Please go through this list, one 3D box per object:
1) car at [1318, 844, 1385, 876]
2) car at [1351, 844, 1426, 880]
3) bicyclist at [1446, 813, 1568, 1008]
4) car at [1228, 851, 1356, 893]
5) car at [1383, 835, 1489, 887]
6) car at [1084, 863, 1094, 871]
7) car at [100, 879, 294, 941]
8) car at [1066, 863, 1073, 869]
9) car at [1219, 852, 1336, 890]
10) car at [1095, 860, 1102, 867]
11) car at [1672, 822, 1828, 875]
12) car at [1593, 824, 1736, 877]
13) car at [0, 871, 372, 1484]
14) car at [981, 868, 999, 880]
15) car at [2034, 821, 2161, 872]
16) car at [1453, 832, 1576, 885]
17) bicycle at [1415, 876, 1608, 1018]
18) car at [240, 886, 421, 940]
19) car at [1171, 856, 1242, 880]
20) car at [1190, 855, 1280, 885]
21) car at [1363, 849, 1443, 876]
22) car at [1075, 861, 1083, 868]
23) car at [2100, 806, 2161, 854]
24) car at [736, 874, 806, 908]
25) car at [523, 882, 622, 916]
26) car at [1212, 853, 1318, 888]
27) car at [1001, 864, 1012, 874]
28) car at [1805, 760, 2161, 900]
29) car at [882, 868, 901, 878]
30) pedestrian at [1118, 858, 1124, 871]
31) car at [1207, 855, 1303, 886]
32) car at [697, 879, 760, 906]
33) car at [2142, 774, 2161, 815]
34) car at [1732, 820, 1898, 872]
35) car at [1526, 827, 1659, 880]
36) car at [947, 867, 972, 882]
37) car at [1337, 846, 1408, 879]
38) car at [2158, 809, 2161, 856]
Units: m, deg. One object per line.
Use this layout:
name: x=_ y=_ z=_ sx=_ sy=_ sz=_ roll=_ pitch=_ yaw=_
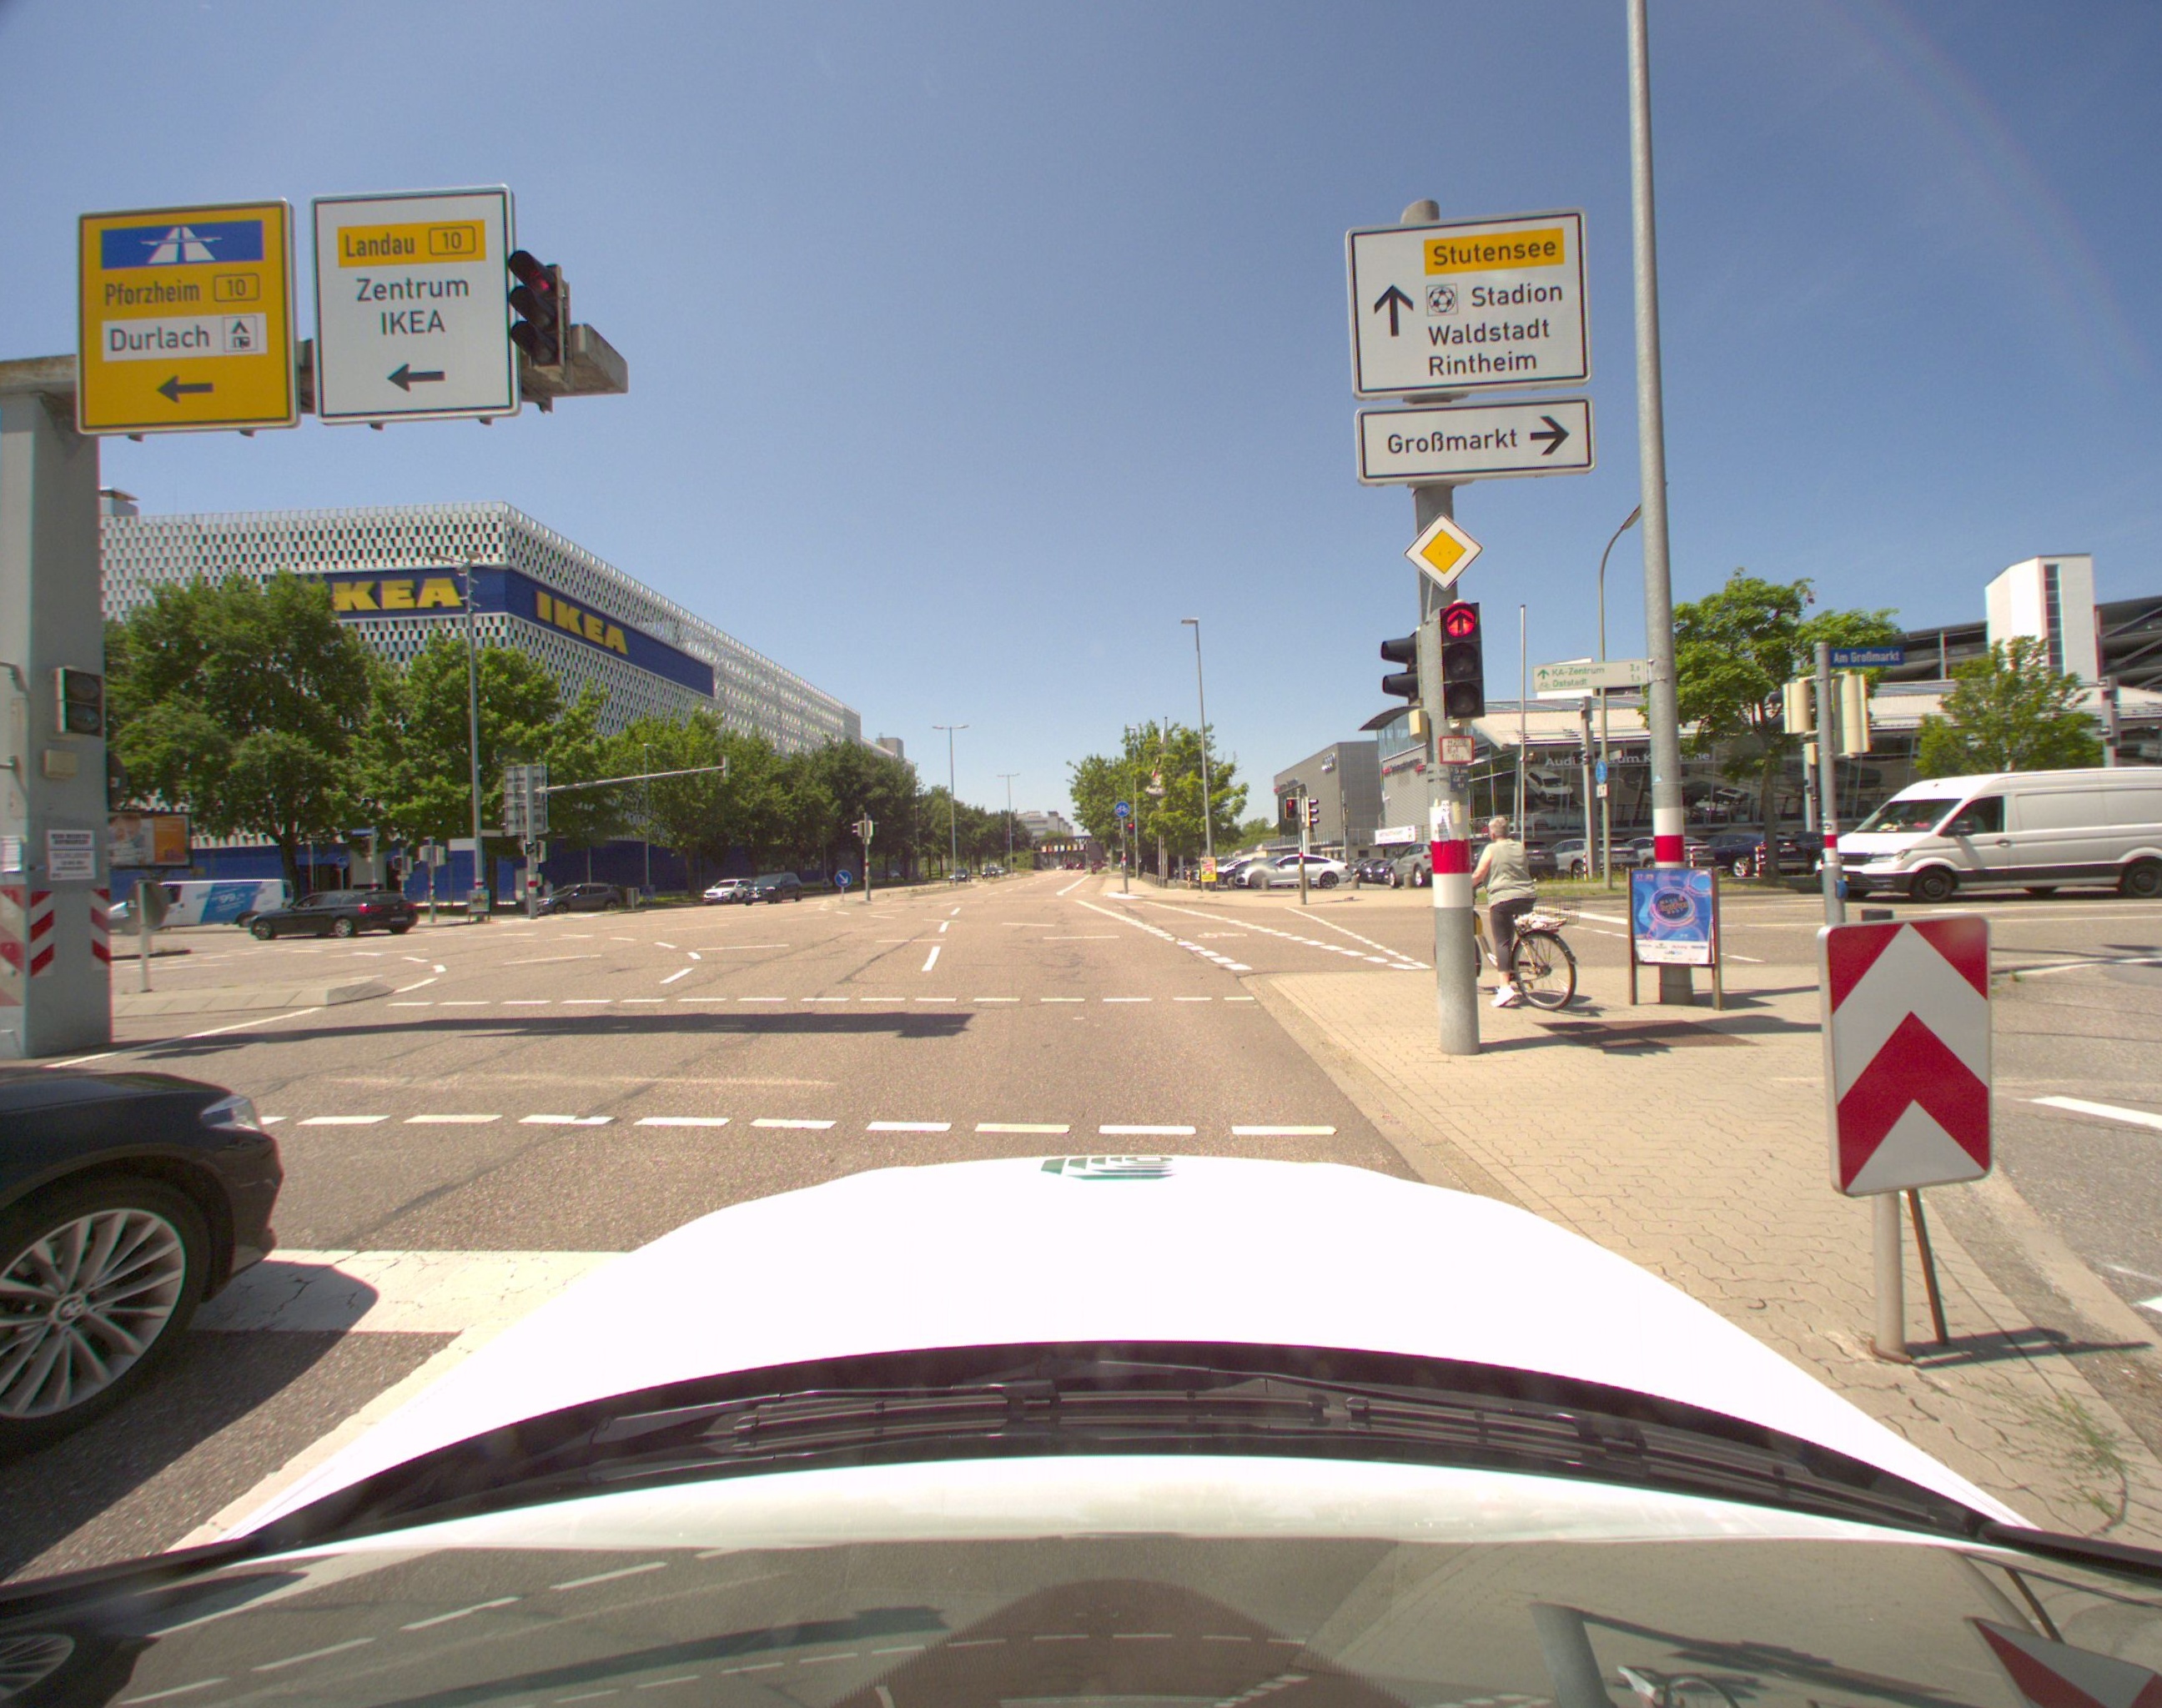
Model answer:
car: x=18.740 y=0.415 z=56.580 sx=3.971 sy=2.014 sz=2.001 roll=-2 pitch=-1 yaw=2
car: x=19.309 y=0.510 z=51.248 sx=3.971 sy=2.014 sz=2.001 roll=-2 pitch=-1 yaw=2
bicyclist: x=4.017 y=0.504 z=7.728 sx=0.732 sy=1.749 sz=0.753 roll=-1 pitch=0 yaw=-3
car: x=8.508 y=0.715 z=33.184 sx=4.721 sy=1.457 sz=2.002 roll=-2 pitch=0 yaw=3
car: x=12.425 y=0.231 z=28.828 sx=1.986 sy=1.639 sz=4.270 roll=-2 pitch=0 yaw=2
car: x=1.042 y=1.653 z=105.356 sx=1.133 sy=1.042 sz=2.309 roll=-2 pitch=0 yaw=2
car: x=-34.187 y=2.121 z=31.744 sx=4.786 sy=2.008 sz=1.978 roll=-2 pitch=-1 yaw=-37
car: x=-3.232 y=3.299 z=225.890 sx=1.765 sy=1.728 sz=4.001 roll=-3 pitch=-1 yaw=2
car: x=8.574 y=0.745 z=35.956 sx=4.721 sy=1.457 sz=2.002 roll=-2 pitch=-2 yaw=3
car: x=4.764 y=2.637 z=220.946 sx=1.765 sy=1.728 sz=4.001 roll=-3 pitch=-1 yaw=2
car: x=23.212 y=-0.187 z=28.502 sx=1.821 sy=1.639 sz=4.476 roll=-3 pitch=0 yaw=2
car: x=20.380 y=-0.109 z=28.726 sx=1.878 sy=1.639 sz=4.526 roll=-3 pitch=0 yaw=2
car: x=-3.553 y=0.806 z=0.681 sx=1.793 sy=1.466 sz=4.624 roll=-1 pitch=0 yaw=1
car: x=-11.858 y=2.614 z=106.228 sx=1.678 sy=1.411 sz=3.666 roll=-3 pitch=-1 yaw=2
car: x=39.334 y=-0.283 z=30.912 sx=3.665 sy=1.777 sz=1.759 roll=-3 pitch=-1 yaw=28
car: x=15.085 y=0.150 z=28.666 sx=1.986 sy=1.639 sz=4.559 roll=-2 pitch=0 yaw=2
bicycle: x=4.047 y=0.814 z=7.859 sx=0.784 sy=1.127 sz=1.919 roll=-1 pitch=0 yaw=-2
car: x=-22.337 y=1.743 z=24.296 sx=4.197 sy=1.411 sz=1.676 roll=-2 pitch=-1 yaw=9
car: x=9.002 y=0.979 z=58.758 sx=4.726 sy=1.457 sz=2.000 roll=-3 pitch=0 yaw=0
car: x=8.752 y=0.907 z=46.490 sx=4.726 sy=1.457 sz=2.000 roll=-2 pitch=0 yaw=0
car: x=19.285 y=0.522 z=48.904 sx=4.076 sy=1.460 sz=1.720 roll=-2 pitch=0 yaw=2
car: x=-0.540 y=2.875 z=220.437 sx=1.765 sy=1.728 sz=4.001 roll=-3 pitch=-1 yaw=2
car: x=47.265 y=-1.079 z=35.144 sx=3.728 sy=2.014 sz=1.866 roll=-2 pitch=-1 yaw=11
car: x=-16.713 y=1.955 z=44.173 sx=1.868 sy=1.598 sz=4.498 roll=-3 pitch=-1 yaw=2
car: x=-25.296 y=2.213 z=40.595 sx=1.753 sy=1.533 sz=3.778 roll=-3 pitch=-2 yaw=31
car: x=8.896 y=0.787 z=39.706 sx=4.721 sy=1.457 sz=2.002 roll=-2 pitch=0 yaw=3
car: x=-13.173 y=2.647 z=144.120 sx=1.645 sy=1.653 sz=4.160 roll=-2 pitch=-1 yaw=-2
car: x=18.715 y=-0.476 z=16.648 sx=5.755 sy=2.534 sz=2.105 roll=-2 pitch=0 yaw=4
car: x=-35.769 y=3.592 z=153.706 sx=2.009 sy=1.810 sz=3.984 roll=0 pitch=0 yaw=-37
pedestrian: x=4.783 y=1.254 z=97.289 sx=0.665 sy=1.510 sz=0.736 roll=-2 pitch=-1 yaw=1
car: x=9.276 y=0.882 z=43.729 sx=4.726 sy=1.457 sz=2.000 roll=-2 pitch=0 yaw=0
car: x=-22.039 y=2.378 z=51.035 sx=1.612 sy=1.457 sz=4.081 roll=-3 pitch=-1 yaw=9
car: x=55.103 y=-3.044 z=39.472 sx=1.989 sy=2.013 sz=3.995 roll=-2 pitch=-1 yaw=-3
car: x=25.436 y=-0.271 z=28.475 sx=1.821 sy=1.640 sz=4.476 roll=-1 pitch=0 yaw=2
car: x=17.934 y=-0.019 z=28.849 sx=1.986 sy=1.639 sz=4.443 roll=-3 pitch=0 yaw=2
car: x=-12.323 y=2.055 z=82.779 sx=1.725 sy=1.427 sz=3.707 roll=-3 pitch=-1 yaw=2
car: x=19.332 y=0.565 z=54.065 sx=3.971 sy=2.014 sz=2.001 roll=-2 pitch=-1 yaw=2
car: x=39.611 y=-0.819 z=26.797 sx=4.705 sy=1.639 sz=1.844 roll=-3 pitch=0 yaw=24
